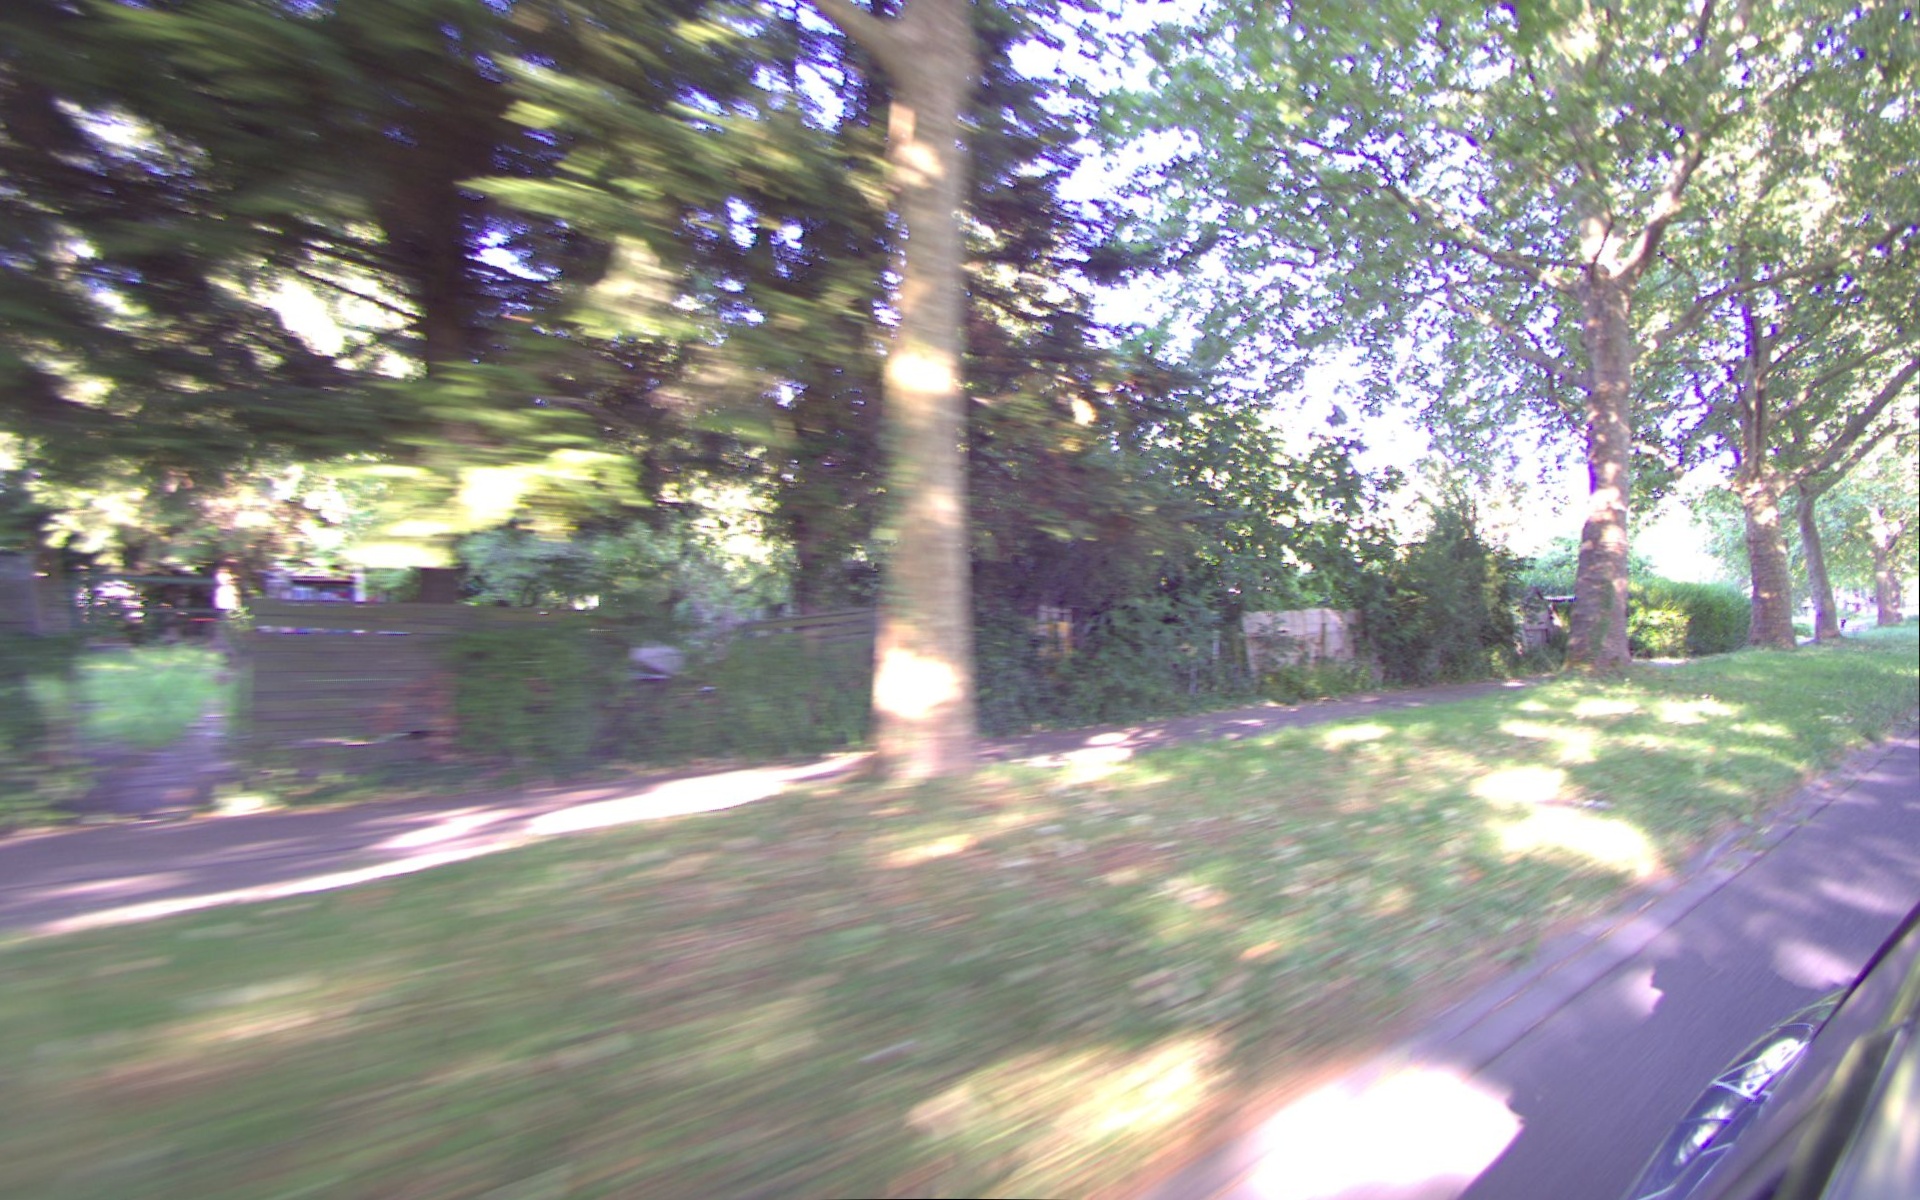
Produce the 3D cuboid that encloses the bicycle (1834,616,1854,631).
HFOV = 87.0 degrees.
[{"bbox_3d":[54.501,1.437,62.361,1.854,0.827,0.554,-1,1,-37],"label":"bicycle"}]

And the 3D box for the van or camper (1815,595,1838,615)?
[{"bbox_3d":[124.627,0.686,145.610,2.377,2.835,5.604,0,1,39],"label":"van or camper"}]

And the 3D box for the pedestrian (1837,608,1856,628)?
[{"bbox_3d":[71.721,1.452,81.862,0.769,1.596,0.846,0,0,-7],"label":"pedestrian"}]

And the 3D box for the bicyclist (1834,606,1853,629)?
[{"bbox_3d":[54.262,1.079,62.187,0.756,1.383,0.736,0,0,-36],"label":"bicyclist"}]

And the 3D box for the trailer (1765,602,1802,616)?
[{"bbox_3d":[64.489,0.689,79.279,1.180,1.065,2.121,-1,1,-41],"label":"trailer"}]
